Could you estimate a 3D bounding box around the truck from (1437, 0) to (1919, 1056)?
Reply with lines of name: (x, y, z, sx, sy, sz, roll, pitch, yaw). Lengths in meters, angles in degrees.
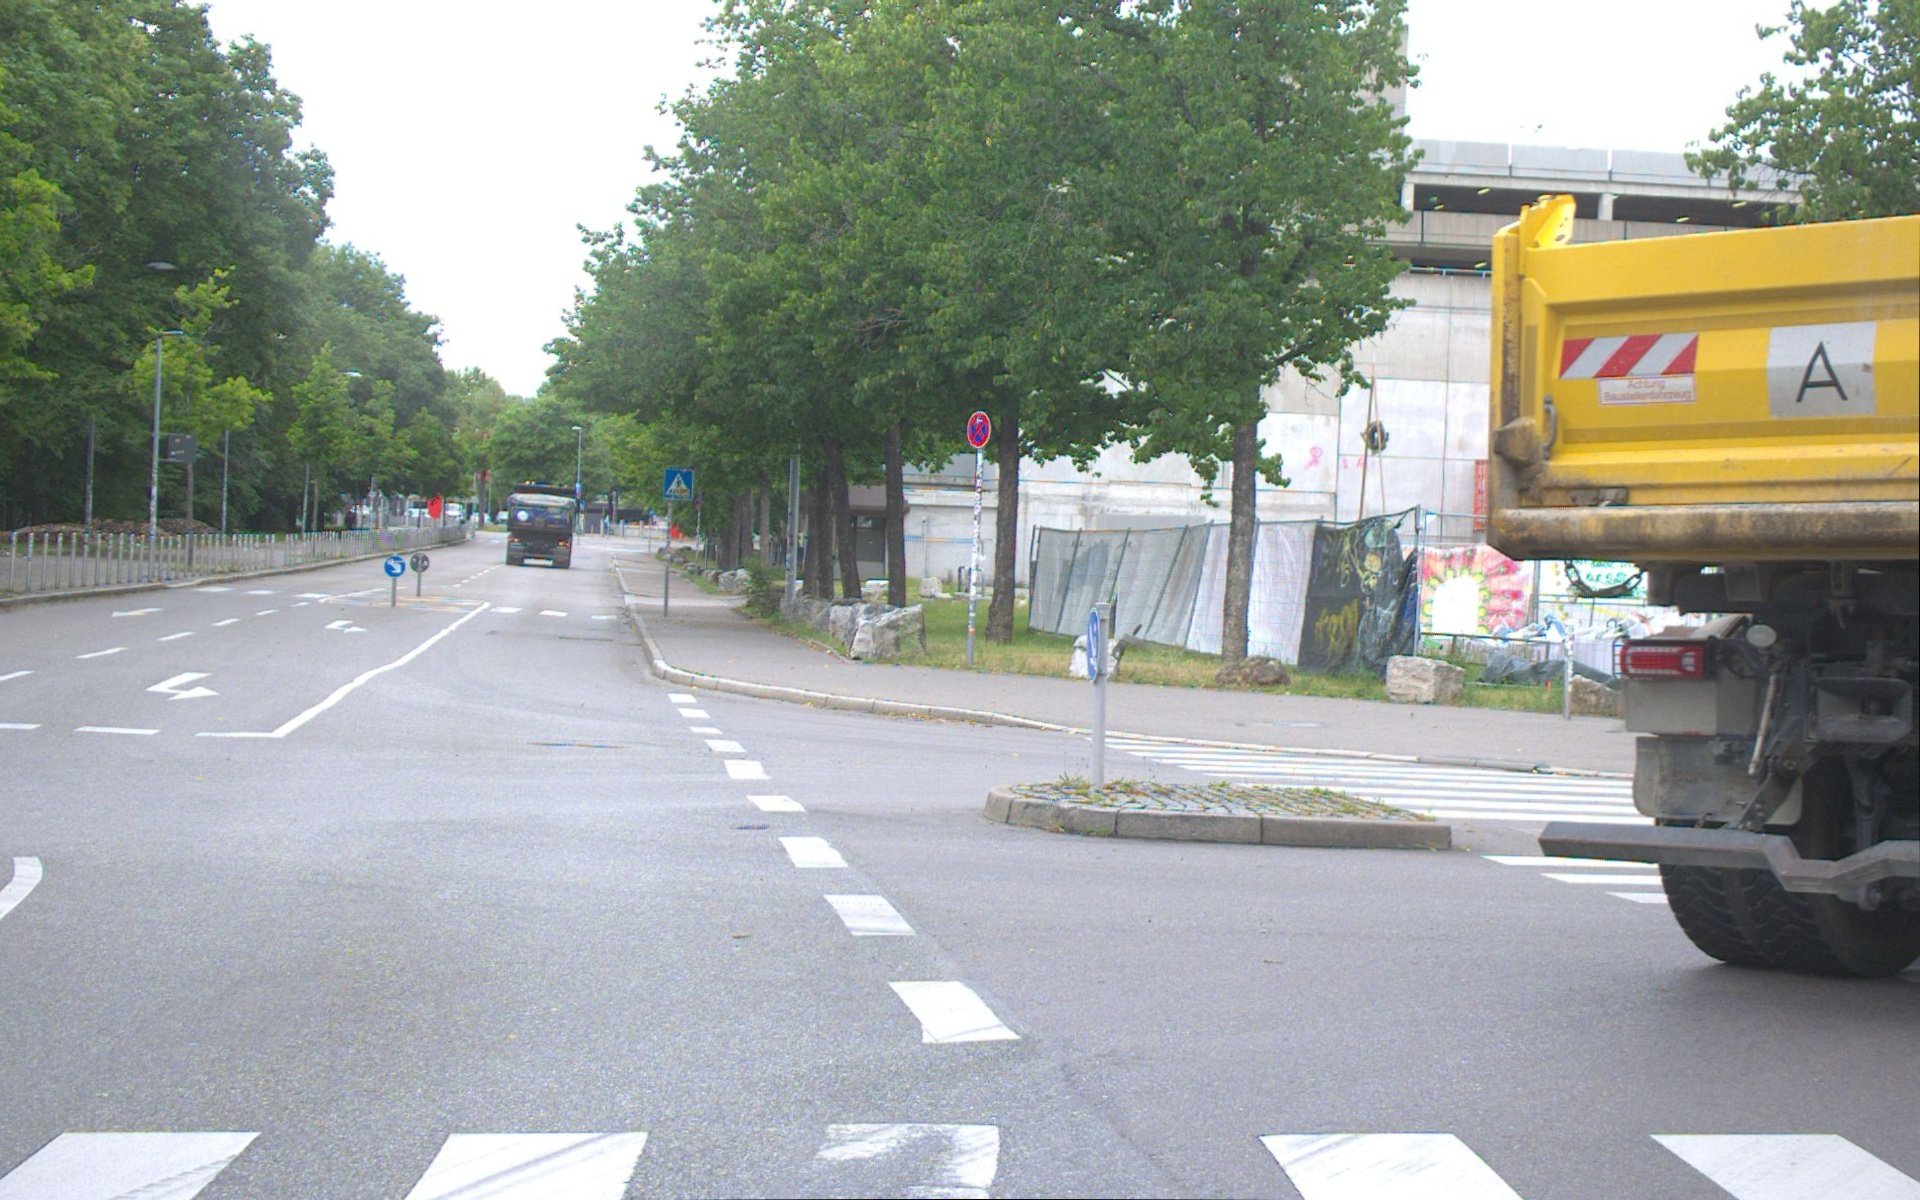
truck: (5.459, -0.386, 13.499, 7.858, 3.686, 2.765, 2, -1, -44)

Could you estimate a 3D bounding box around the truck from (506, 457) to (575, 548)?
truck: (-16.988, -3.914, 139.321, 2.672, 3.546, 7.925, 0, 1, -7)
